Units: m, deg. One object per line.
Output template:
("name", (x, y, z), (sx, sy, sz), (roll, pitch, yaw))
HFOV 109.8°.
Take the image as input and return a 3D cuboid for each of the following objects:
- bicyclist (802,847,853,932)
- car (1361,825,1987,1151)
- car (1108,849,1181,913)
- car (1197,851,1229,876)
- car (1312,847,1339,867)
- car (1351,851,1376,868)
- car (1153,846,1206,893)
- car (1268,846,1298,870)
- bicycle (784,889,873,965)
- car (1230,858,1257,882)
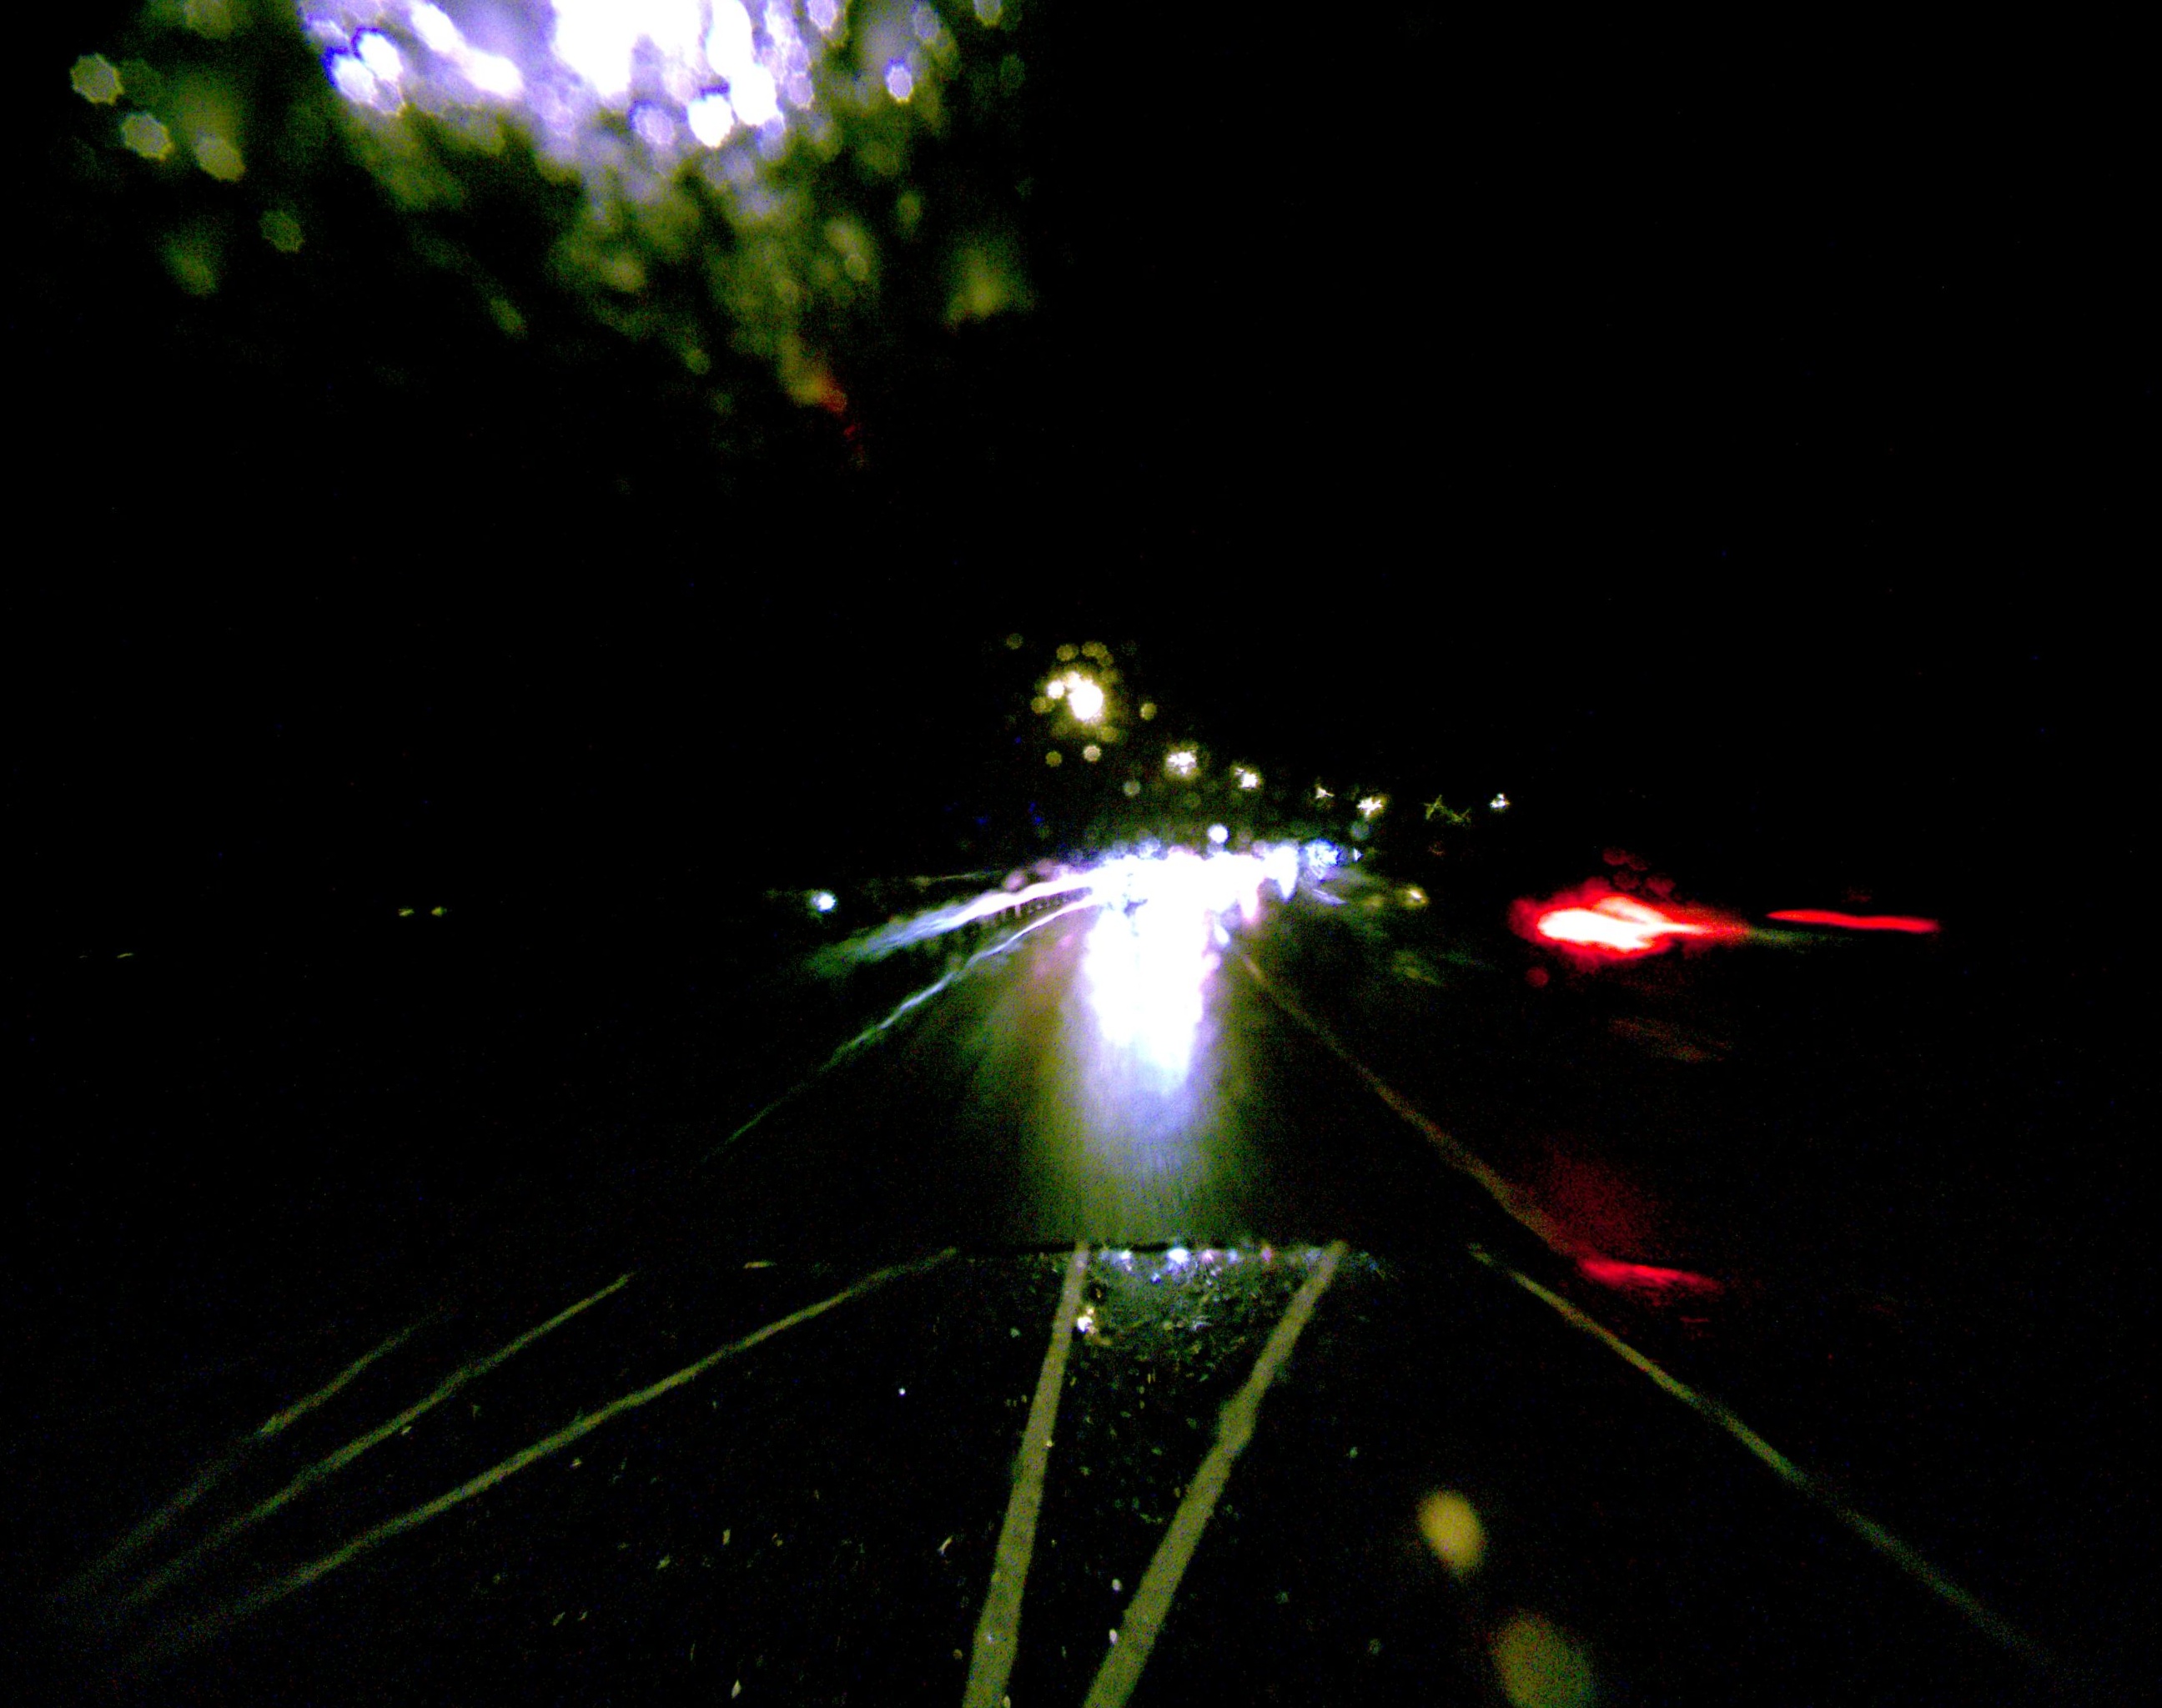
("bicyclist", (-4.189, 0.574, 12.601), (0.453, 1.341, 0.765), (-2, 0, 8))
("car", (3.865, 0.687, 6.112), (1.783, 1.694, 4.314), (-1, 1, 2))
("car", (1.887, 0.769, 22.710), (1.927, 1.704, 4.241), (1, -1, 5))
("car", (8.385, 0.573, 48.078), (1.520, 1.516, 3.111), (-1, 0, 18))
("car", (28.207, 0.374, 87.644), (1.653, 1.999, 4.009), (-10, -7, 33))
("car", (37.097, 0.724, 99.777), (1.653, 1.999, 4.009), (-11, -7, 37))
("car", (4.674, 0.663, 35.677), (1.996, 2.002, 4.003), (1, 2, 14))
("car", (19.598, 0.415, 73.702), (1.653, 1.999, 4.009), (-9, -6, 28))
("bicycle", (-4.159, 1.164, 12.703), (0.485, 1.028, 2.173), (-2, 1, 7))
("car", (12.678, 1.238, 59.183), (1.304, 1.519, 3.050), (-11, -2, 23))
